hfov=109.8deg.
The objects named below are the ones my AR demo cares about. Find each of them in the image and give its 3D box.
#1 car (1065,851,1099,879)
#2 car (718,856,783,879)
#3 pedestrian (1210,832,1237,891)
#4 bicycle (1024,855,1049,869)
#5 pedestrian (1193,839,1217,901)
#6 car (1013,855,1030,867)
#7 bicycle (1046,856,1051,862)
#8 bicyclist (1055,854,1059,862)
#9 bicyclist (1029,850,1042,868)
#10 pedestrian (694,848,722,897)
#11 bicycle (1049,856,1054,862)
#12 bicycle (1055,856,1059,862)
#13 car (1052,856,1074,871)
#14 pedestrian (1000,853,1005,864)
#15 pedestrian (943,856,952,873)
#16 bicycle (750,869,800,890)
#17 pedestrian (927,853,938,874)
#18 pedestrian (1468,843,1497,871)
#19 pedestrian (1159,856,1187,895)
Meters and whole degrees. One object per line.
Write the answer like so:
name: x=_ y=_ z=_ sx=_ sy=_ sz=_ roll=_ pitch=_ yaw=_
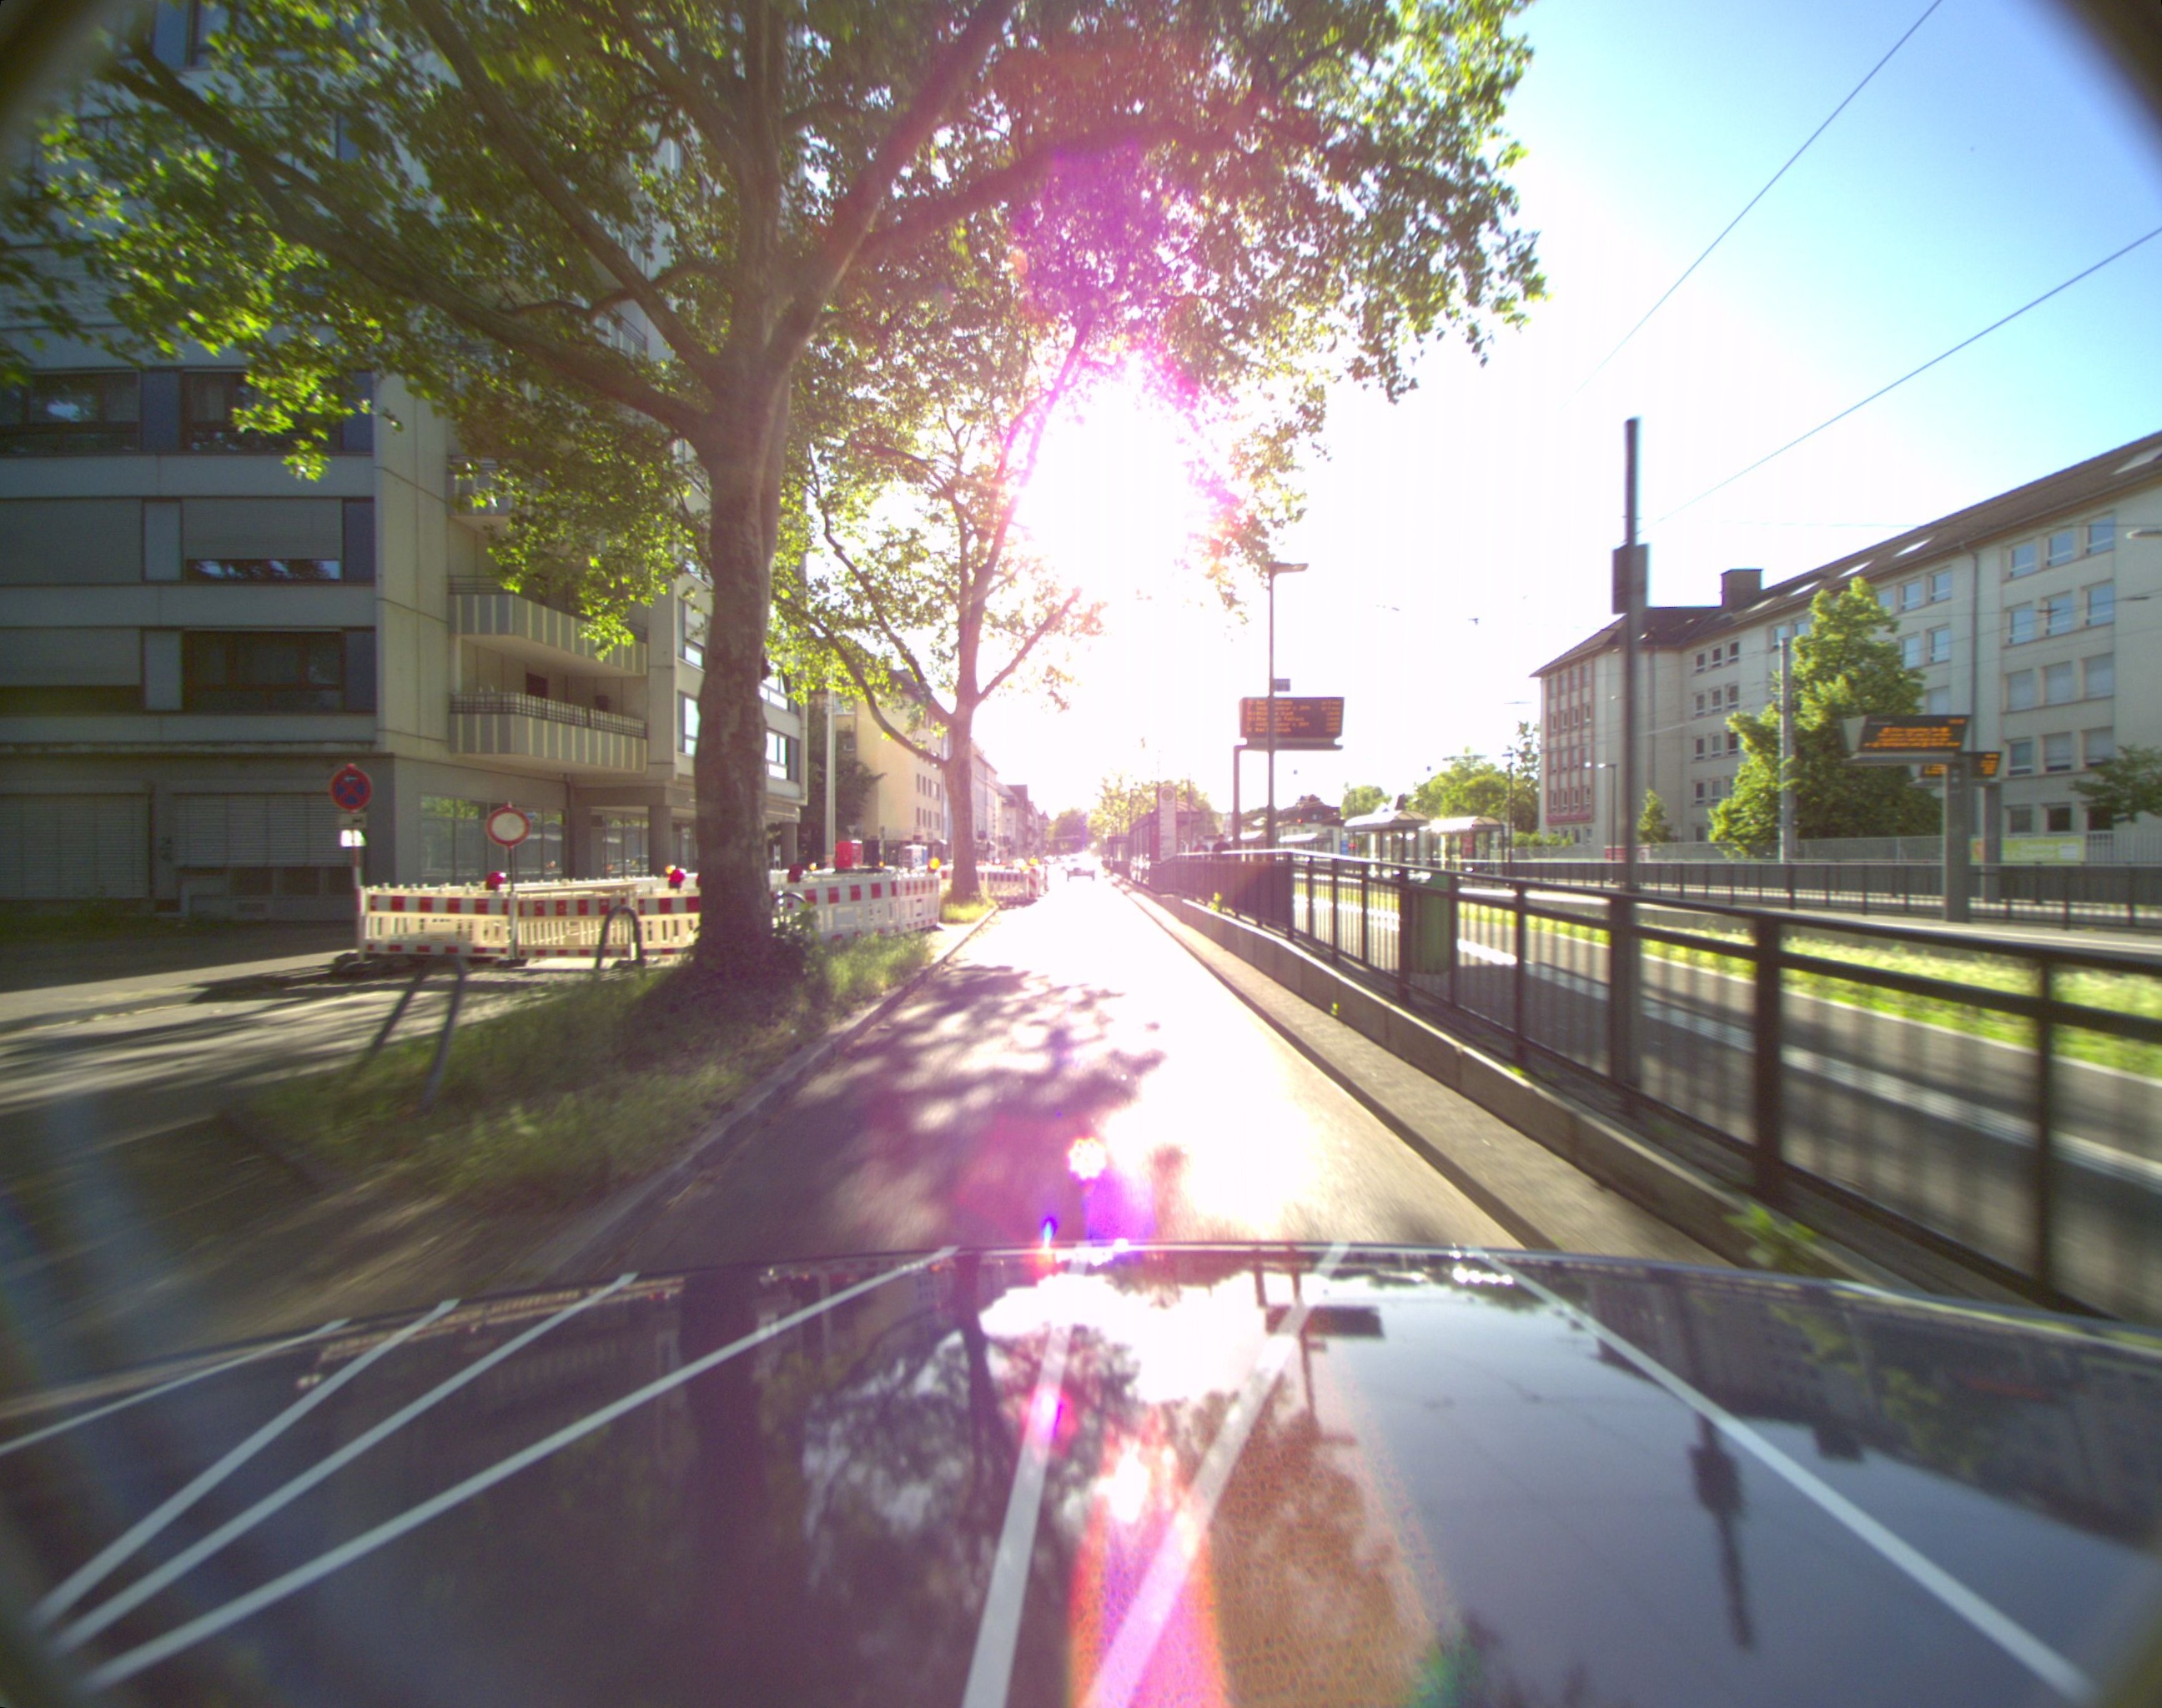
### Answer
car: x=0.120 y=0.655 z=49.052 sx=1.979 sy=1.660 sz=4.621 roll=-1 pitch=0 yaw=2
car: x=-24.485 y=1.018 z=56.308 sx=4.238 sy=1.632 sz=2.003 roll=0 pitch=-1 yaw=21
pedestrian: x=4.372 y=0.225 z=23.406 sx=0.683 sy=1.773 sz=0.754 roll=-1 pitch=1 yaw=1
bicycle: x=-4.571 y=0.806 z=78.192 sx=2.382 sy=1.349 sz=1.020 roll=-1 pitch=1 yaw=-26
pedestrian: x=4.076 y=0.523 z=25.051 sx=0.669 sy=2.002 sz=0.716 roll=-1 pitch=1 yaw=2
car: x=-7.707 y=0.842 z=98.953 sx=1.904 sy=1.421 sz=4.716 roll=-2 pitch=0 yaw=-1
bicycle: x=-6.592 y=1.025 z=153.383 sx=0.693 sy=1.208 sz=2.299 roll=0 pitch=0 yaw=5
bicyclist: x=-4.864 y=0.745 z=153.770 sx=0.696 sy=1.596 sz=0.745 roll=0 pitch=1 yaw=5
bicyclist: x=-4.699 y=0.533 z=78.104 sx=1.005 sy=1.872 sz=0.991 roll=-1 pitch=1 yaw=-27
pedestrian: x=-13.934 y=0.691 z=28.365 sx=0.691 sy=1.804 sz=0.665 roll=-1 pitch=1 yaw=0
bicycle: x=-5.860 y=1.015 z=153.336 sx=0.693 sy=1.208 sz=2.299 roll=0 pitch=0 yaw=5
bicycle: x=-4.848 y=0.980 z=153.164 sx=0.693 sy=1.208 sz=2.299 roll=0 pitch=0 yaw=5
car: x=-1.970 y=1.009 z=84.912 sx=1.998 sy=1.594 sz=4.273 roll=0 pitch=0 yaw=4
pedestrian: x=-12.125 y=0.717 z=116.953 sx=0.663 sy=1.680 sz=0.677 roll=-1 pitch=1 yaw=0
pedestrian: x=-11.645 y=0.906 z=66.249 sx=0.672 sy=1.498 sz=0.652 roll=-1 pitch=1 yaw=0
bicycle: x=-14.597 y=1.205 z=36.259 sx=2.030 sy=0.937 sz=1.019 roll=-1 pitch=0 yaw=20
pedestrian: x=-12.851 y=0.817 z=65.689 sx=0.730 sy=1.843 sz=0.901 roll=0 pitch=1 yaw=3
pedestrian: x=20.152 y=0.130 z=38.177 sx=0.977 sy=1.368 sz=0.879 roll=-1 pitch=0 yaw=0
pedestrian: x=2.788 y=0.643 z=23.114 sx=0.754 sy=1.172 sz=0.812 roll=-1 pitch=0 yaw=-1
